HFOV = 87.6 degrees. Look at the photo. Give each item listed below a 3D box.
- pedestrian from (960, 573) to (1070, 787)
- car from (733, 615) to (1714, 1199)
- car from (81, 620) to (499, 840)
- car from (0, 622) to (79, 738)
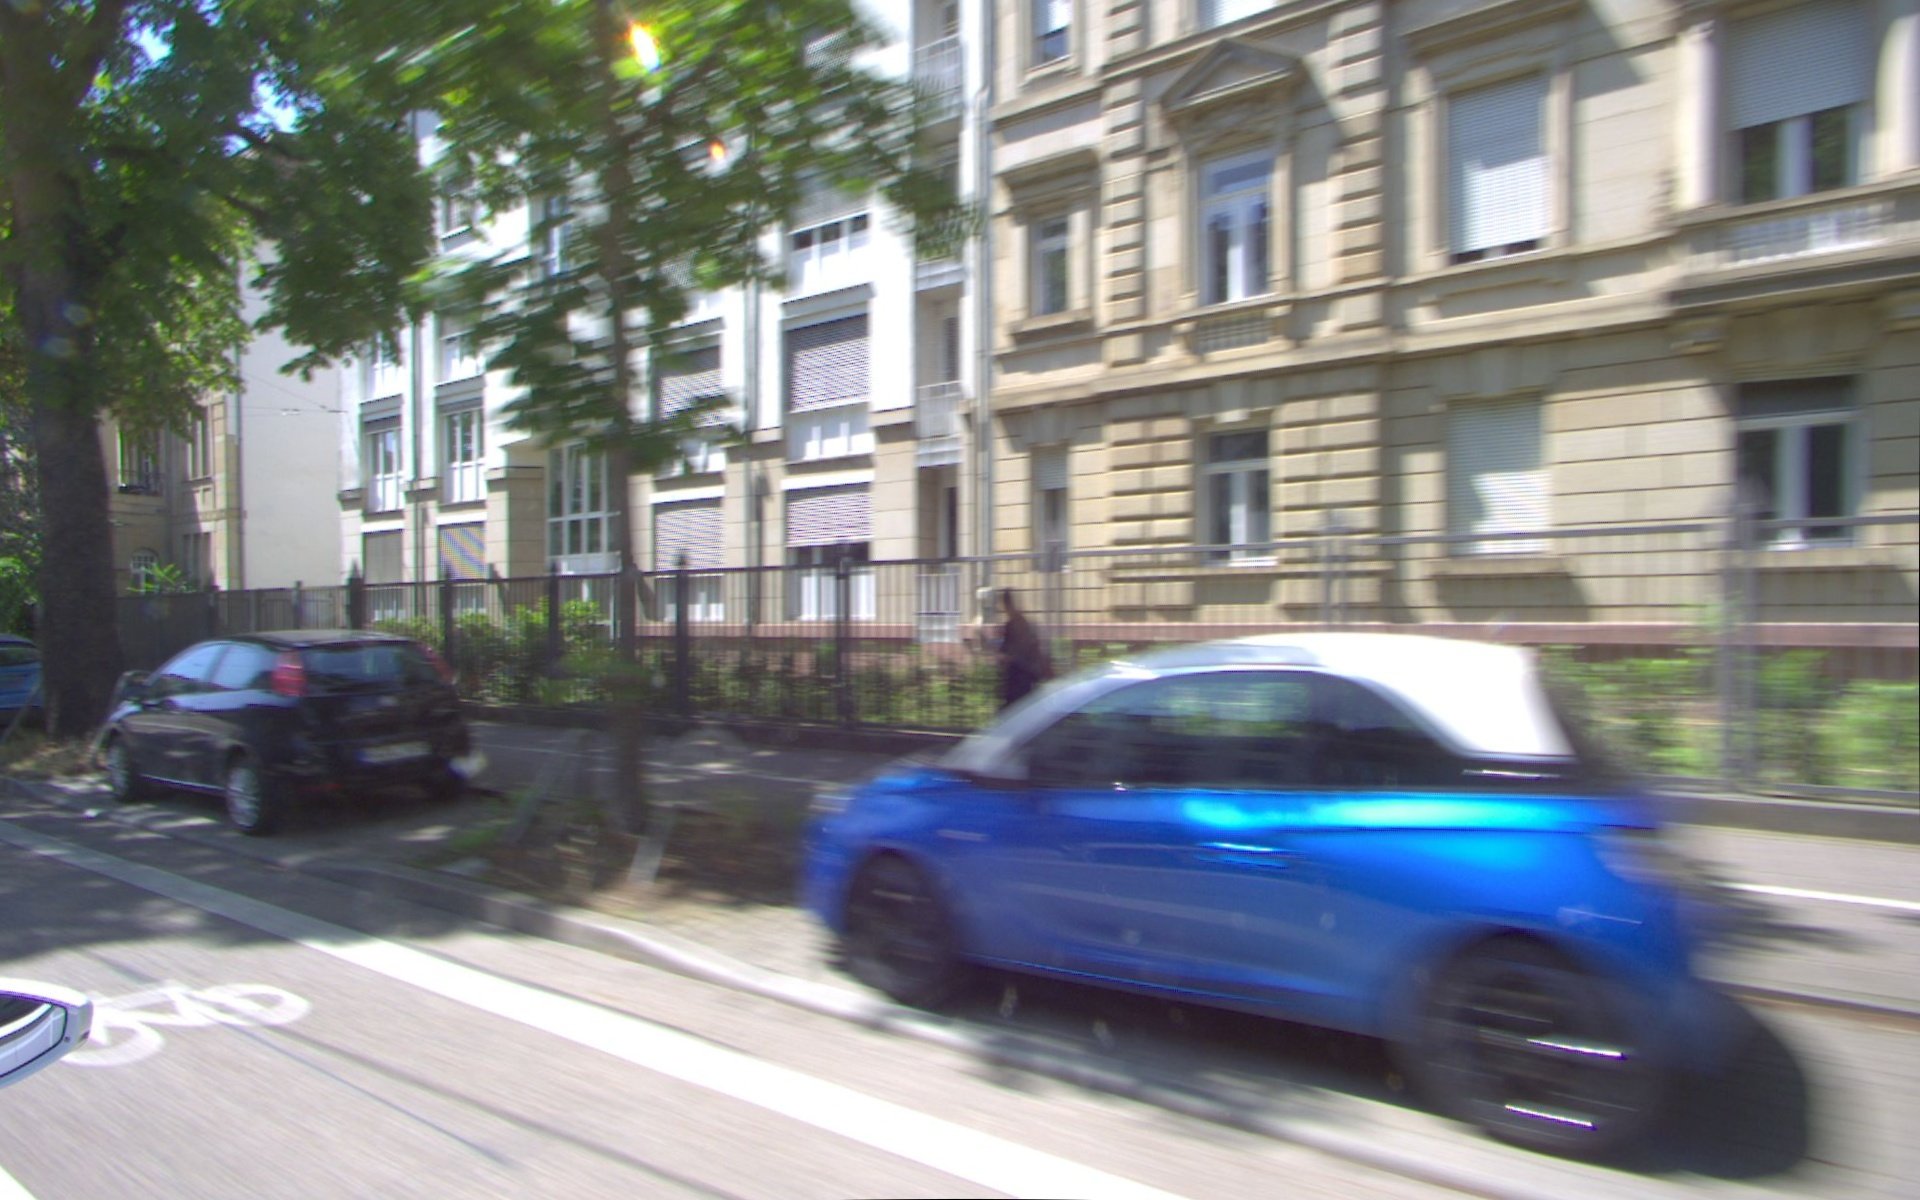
[{"bbox_3d":[0.464,0.651,8.467,0.744,1.715,0.545,-1,0,32],"label":"pedestrian"},{"bbox_3d":[0.904,0.880,4.280,3.532,1.516,1.607,-2,0,32],"label":"car"},{"bbox_3d":[-5.995,0.973,8.856,3.864,1.516,1.673,-1,0,33],"label":"car"},{"bbox_3d":[-14.194,1.098,14.116,3.945,1.481,1.679,-1,0,33],"label":"car"}]
